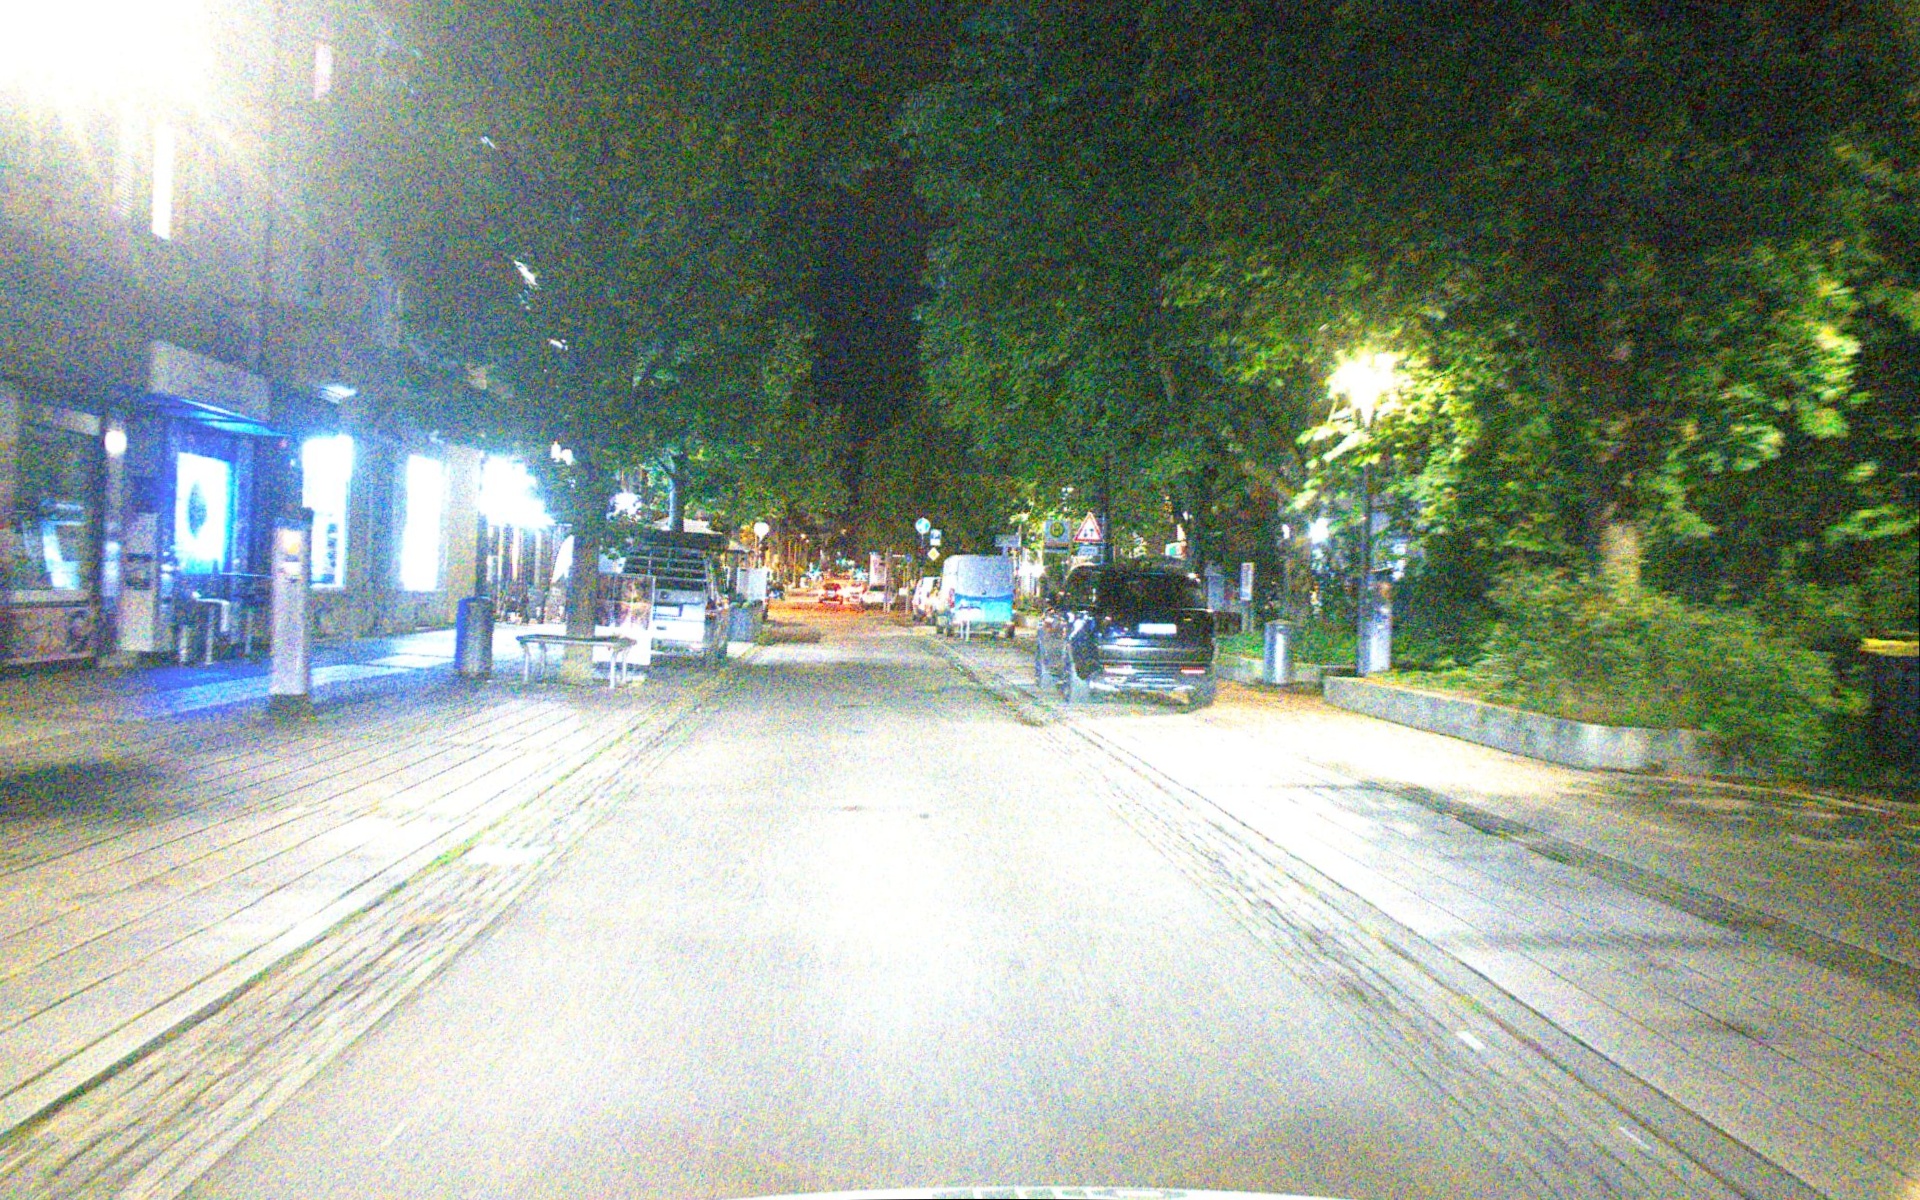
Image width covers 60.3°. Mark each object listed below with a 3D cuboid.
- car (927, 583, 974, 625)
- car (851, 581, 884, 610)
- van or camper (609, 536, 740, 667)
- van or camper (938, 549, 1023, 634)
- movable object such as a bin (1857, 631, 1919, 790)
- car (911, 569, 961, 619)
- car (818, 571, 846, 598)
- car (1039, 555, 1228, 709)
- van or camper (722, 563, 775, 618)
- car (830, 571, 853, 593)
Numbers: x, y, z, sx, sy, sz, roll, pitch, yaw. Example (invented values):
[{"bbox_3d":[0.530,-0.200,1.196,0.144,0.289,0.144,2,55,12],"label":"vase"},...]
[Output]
[{"bbox_3d":[-0.379,0.124,61.492,1.501,1.443,3.843,2,0,-4],"label":"car"},{"bbox_3d":[-5.320,-0.275,94.935,1.803,1.569,3.843,2,1,-4],"label":"car"},{"bbox_3d":[-4.977,0.008,29.359,1.830,2.046,4.258,3,0,-5],"label":"van or camper"},{"bbox_3d":[0.538,-0.263,48.568,2.067,2.357,4.258,1,1,-5],"label":"van or camper"},{"bbox_3d":[8.678,0.974,14.417,1.083,1.329,1.009,3,0,-6],"label":"movable object such as a bin"},{"bbox_3d":[-0.992,-0.266,67.200,1.803,1.934,3.843,2,0,-4],"label":"car"},{"bbox_3d":[-9.398,-1.118,121.660,1.954,1.855,3.997,2,0,-4],"label":"car"},{"bbox_3d":[2.255,0.372,22.612,1.779,1.860,4.343,1,0,-4],"label":"car"},{"bbox_3d":[-8.167,-0.377,63.821,1.899,2.023,3.839,2,0,-8],"label":"van or camper"},{"bbox_3d":[-10.334,-1.545,144.077,1.955,1.855,3.996,2,0,-5],"label":"car"}]
